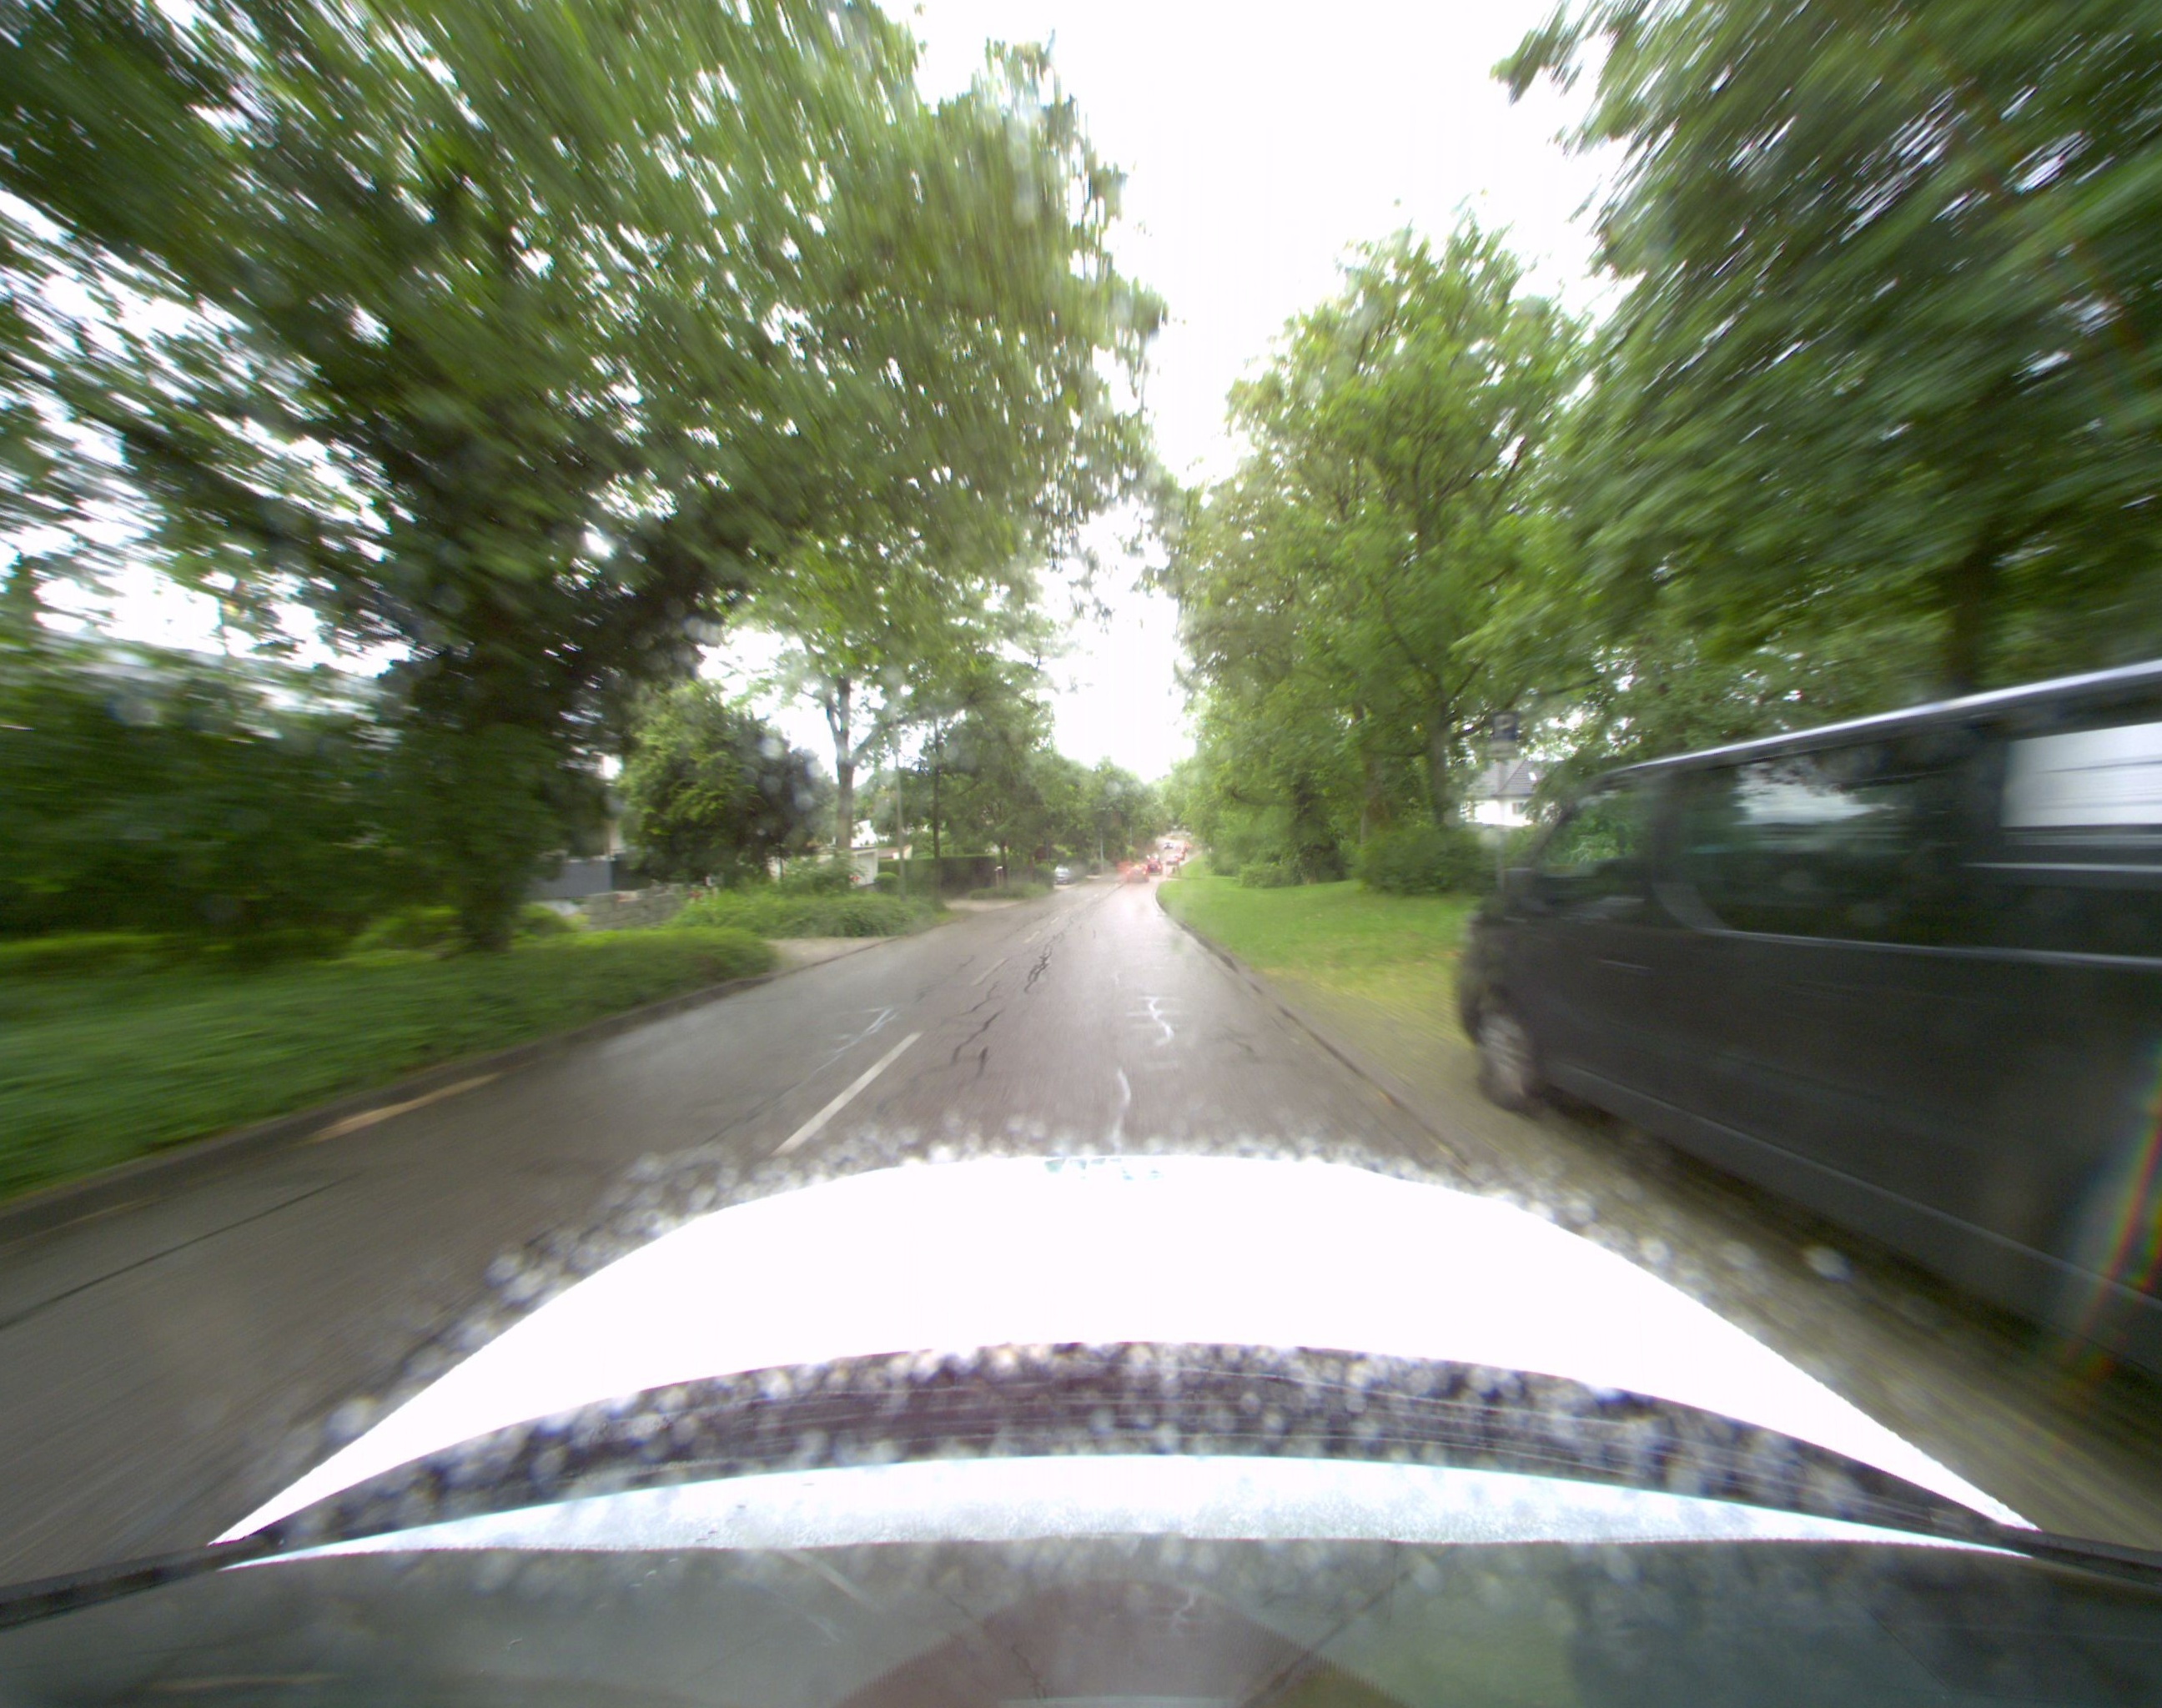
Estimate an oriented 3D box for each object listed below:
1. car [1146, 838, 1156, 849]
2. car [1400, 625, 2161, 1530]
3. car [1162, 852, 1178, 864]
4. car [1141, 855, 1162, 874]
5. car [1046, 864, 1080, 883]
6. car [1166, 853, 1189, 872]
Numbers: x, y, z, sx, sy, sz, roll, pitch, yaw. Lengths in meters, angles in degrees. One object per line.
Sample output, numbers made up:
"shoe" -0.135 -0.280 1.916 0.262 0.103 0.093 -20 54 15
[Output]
"car" 14.398 -2.126 168.319 1.985 2.012 4.006 -2 5 3
"car" 3.288 0.454 3.165 1.986 1.909 5.510 -2 0 1
"car" 13.279 0.575 121.723 1.850 1.692 4.000 -2 -1 1
"car" 7.769 1.113 89.623 1.987 2.014 4.000 -2 -1 1
"car" -1.586 1.708 71.657 1.979 1.598 4.024 -2 -1 13
"car" 10.603 0.946 89.683 1.987 2.014 4.000 -1 -1 1
